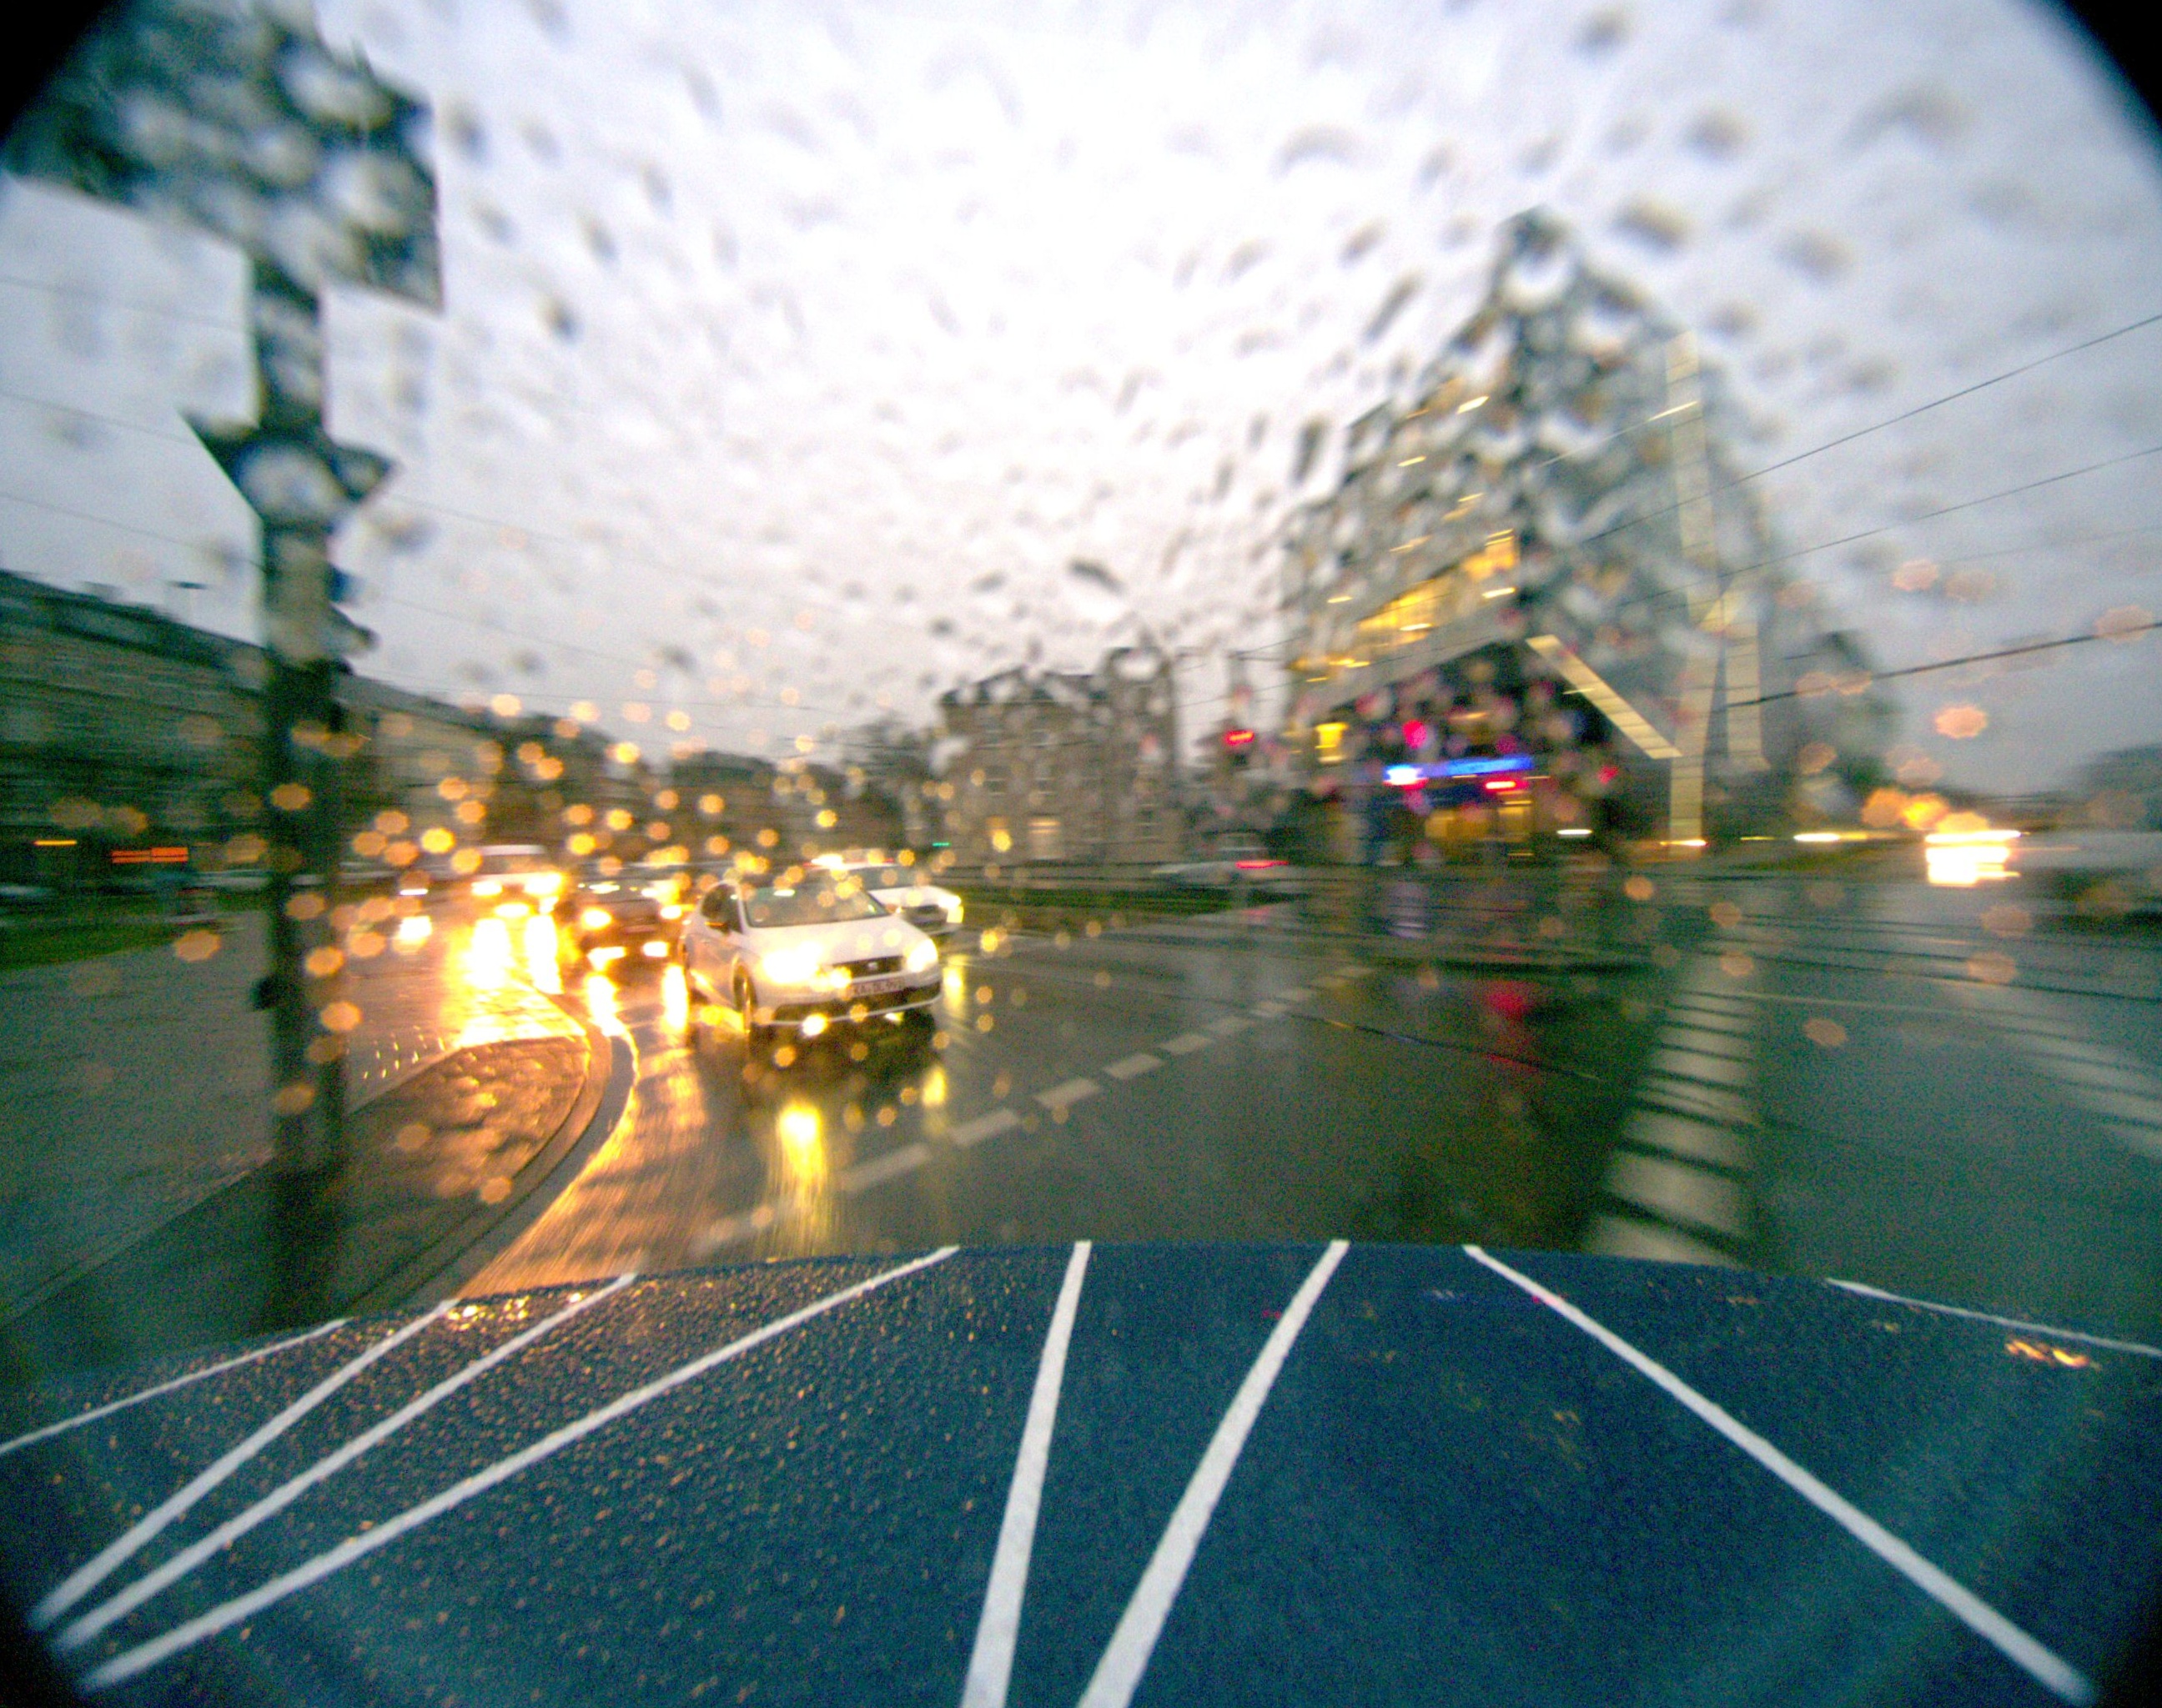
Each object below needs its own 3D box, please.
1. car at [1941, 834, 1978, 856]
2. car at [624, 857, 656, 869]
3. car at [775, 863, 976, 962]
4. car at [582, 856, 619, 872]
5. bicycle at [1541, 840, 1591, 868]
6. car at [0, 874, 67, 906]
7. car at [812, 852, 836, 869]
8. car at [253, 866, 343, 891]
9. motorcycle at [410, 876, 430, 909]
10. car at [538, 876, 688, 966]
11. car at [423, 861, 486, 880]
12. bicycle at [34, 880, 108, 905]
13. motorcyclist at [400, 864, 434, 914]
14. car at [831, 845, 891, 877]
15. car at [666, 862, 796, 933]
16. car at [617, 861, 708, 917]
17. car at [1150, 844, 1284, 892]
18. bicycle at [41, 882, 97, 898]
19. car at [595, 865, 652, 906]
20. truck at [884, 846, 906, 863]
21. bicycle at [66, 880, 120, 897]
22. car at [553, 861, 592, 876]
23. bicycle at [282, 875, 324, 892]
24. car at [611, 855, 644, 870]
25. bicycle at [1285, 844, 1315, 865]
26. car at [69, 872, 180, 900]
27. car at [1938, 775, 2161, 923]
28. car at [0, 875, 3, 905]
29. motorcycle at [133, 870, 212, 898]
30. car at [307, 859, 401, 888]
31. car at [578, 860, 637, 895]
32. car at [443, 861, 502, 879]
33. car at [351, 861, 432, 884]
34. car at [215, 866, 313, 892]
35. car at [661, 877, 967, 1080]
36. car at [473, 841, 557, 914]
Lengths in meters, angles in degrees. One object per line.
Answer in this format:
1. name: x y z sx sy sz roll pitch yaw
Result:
1. car: 67.818 -0.702 58.660 4.007 1.652 1.829 -2 1 -41
2. car: -52.906 1.084 91.198 3.191 1.405 1.379 -2 1 -26
3. car: -3.857 0.946 13.910 1.767 1.455 3.906 -5 3 -45
4. car: -52.230 1.041 82.597 3.191 1.615 1.425 -2 1 -27
5. bicycle: 19.920 0.006 31.221 0.644 1.064 1.597 -2 0 -40
6. car: -47.614 1.623 33.125 3.695 1.298 1.664 -2 1 -36
7. car: -23.122 0.558 68.229 1.647 1.378 4.467 -2 1 -23
8. car: -49.692 1.516 48.305 3.695 1.428 1.517 -2 1 -35
9. motorcycle: -25.572 1.454 29.391 0.485 1.176 2.403 -2 1 -40
10. car: -9.220 1.196 14.848 1.727 1.380 3.811 -3 2 -43
11. car: -49.855 1.306 60.550 3.620 1.362 1.614 -2 1 -31
12. bicycle: -44.590 1.693 33.576 0.536 1.013 1.910 0 0 14
13. motorcyclist: -25.569 1.331 29.282 0.888 1.871 0.919 -2 1 -40
14. car: -13.791 0.425 47.396 1.908 1.861 4.949 -2 1 -37
15. car: -9.083 1.019 19.533 1.830 1.561 4.349 -2 1 -41
16. car: -13.557 1.067 24.501 1.680 1.590 4.211 -2 1 -41
17. car: 4.644 0.459 26.402 1.870 1.477 4.329 -2 1 -43
18. bicycle: -49.569 1.753 37.213 1.796 0.773 0.445 0 0 -12
19. car: -17.971 1.190 29.794 1.693 1.422 3.338 -3 2 -34
20. truck: -23.104 0.025 94.505 1.837 2.032 3.998 -1 1 -3
21. bicycle: -49.873 1.735 38.382 1.796 0.813 0.393 0 0 -15
22. car: -52.858 1.463 79.083 3.191 1.420 1.425 -2 1 -27
23. bicycle: -43.732 1.665 42.718 1.795 0.926 0.445 0 0 -7
24. car: -52.590 0.990 88.164 3.191 1.615 1.442 -2 1 -27
25. bicycle: 12.241 0.038 42.424 1.497 1.121 0.528 -1 1 -3
26. car: -50.369 1.673 40.084 3.307 1.298 1.517 -2 1 -35
27. car: 16.120 -0.099 10.297 1.956 2.047 5.649 -2 1 -24
28. car: -47.096 1.577 30.699 3.695 1.298 1.737 -2 1 -36
29. motorcycle: -44.731 1.488 37.438 2.361 1.338 0.883 1 1 -21
30. car: -49.310 1.272 51.671 4.353 1.758 1.776 -2 1 -36
31. car: -22.321 1.057 35.972 1.880 1.466 4.162 -3 1 -26
32. car: -50.397 1.296 63.032 3.620 1.362 1.614 -2 1 -31
33. car: -49.401 1.303 54.553 3.970 1.436 1.697 -2 1 -30
34. car: -48.988 1.480 45.657 3.695 1.391 1.517 -2 1 -35
35. car: -3.071 1.034 8.094 1.792 1.371 4.211 -4 2 -37
36. car: -21.479 0.803 28.771 2.247 2.449 5.654 -3 2 -38
